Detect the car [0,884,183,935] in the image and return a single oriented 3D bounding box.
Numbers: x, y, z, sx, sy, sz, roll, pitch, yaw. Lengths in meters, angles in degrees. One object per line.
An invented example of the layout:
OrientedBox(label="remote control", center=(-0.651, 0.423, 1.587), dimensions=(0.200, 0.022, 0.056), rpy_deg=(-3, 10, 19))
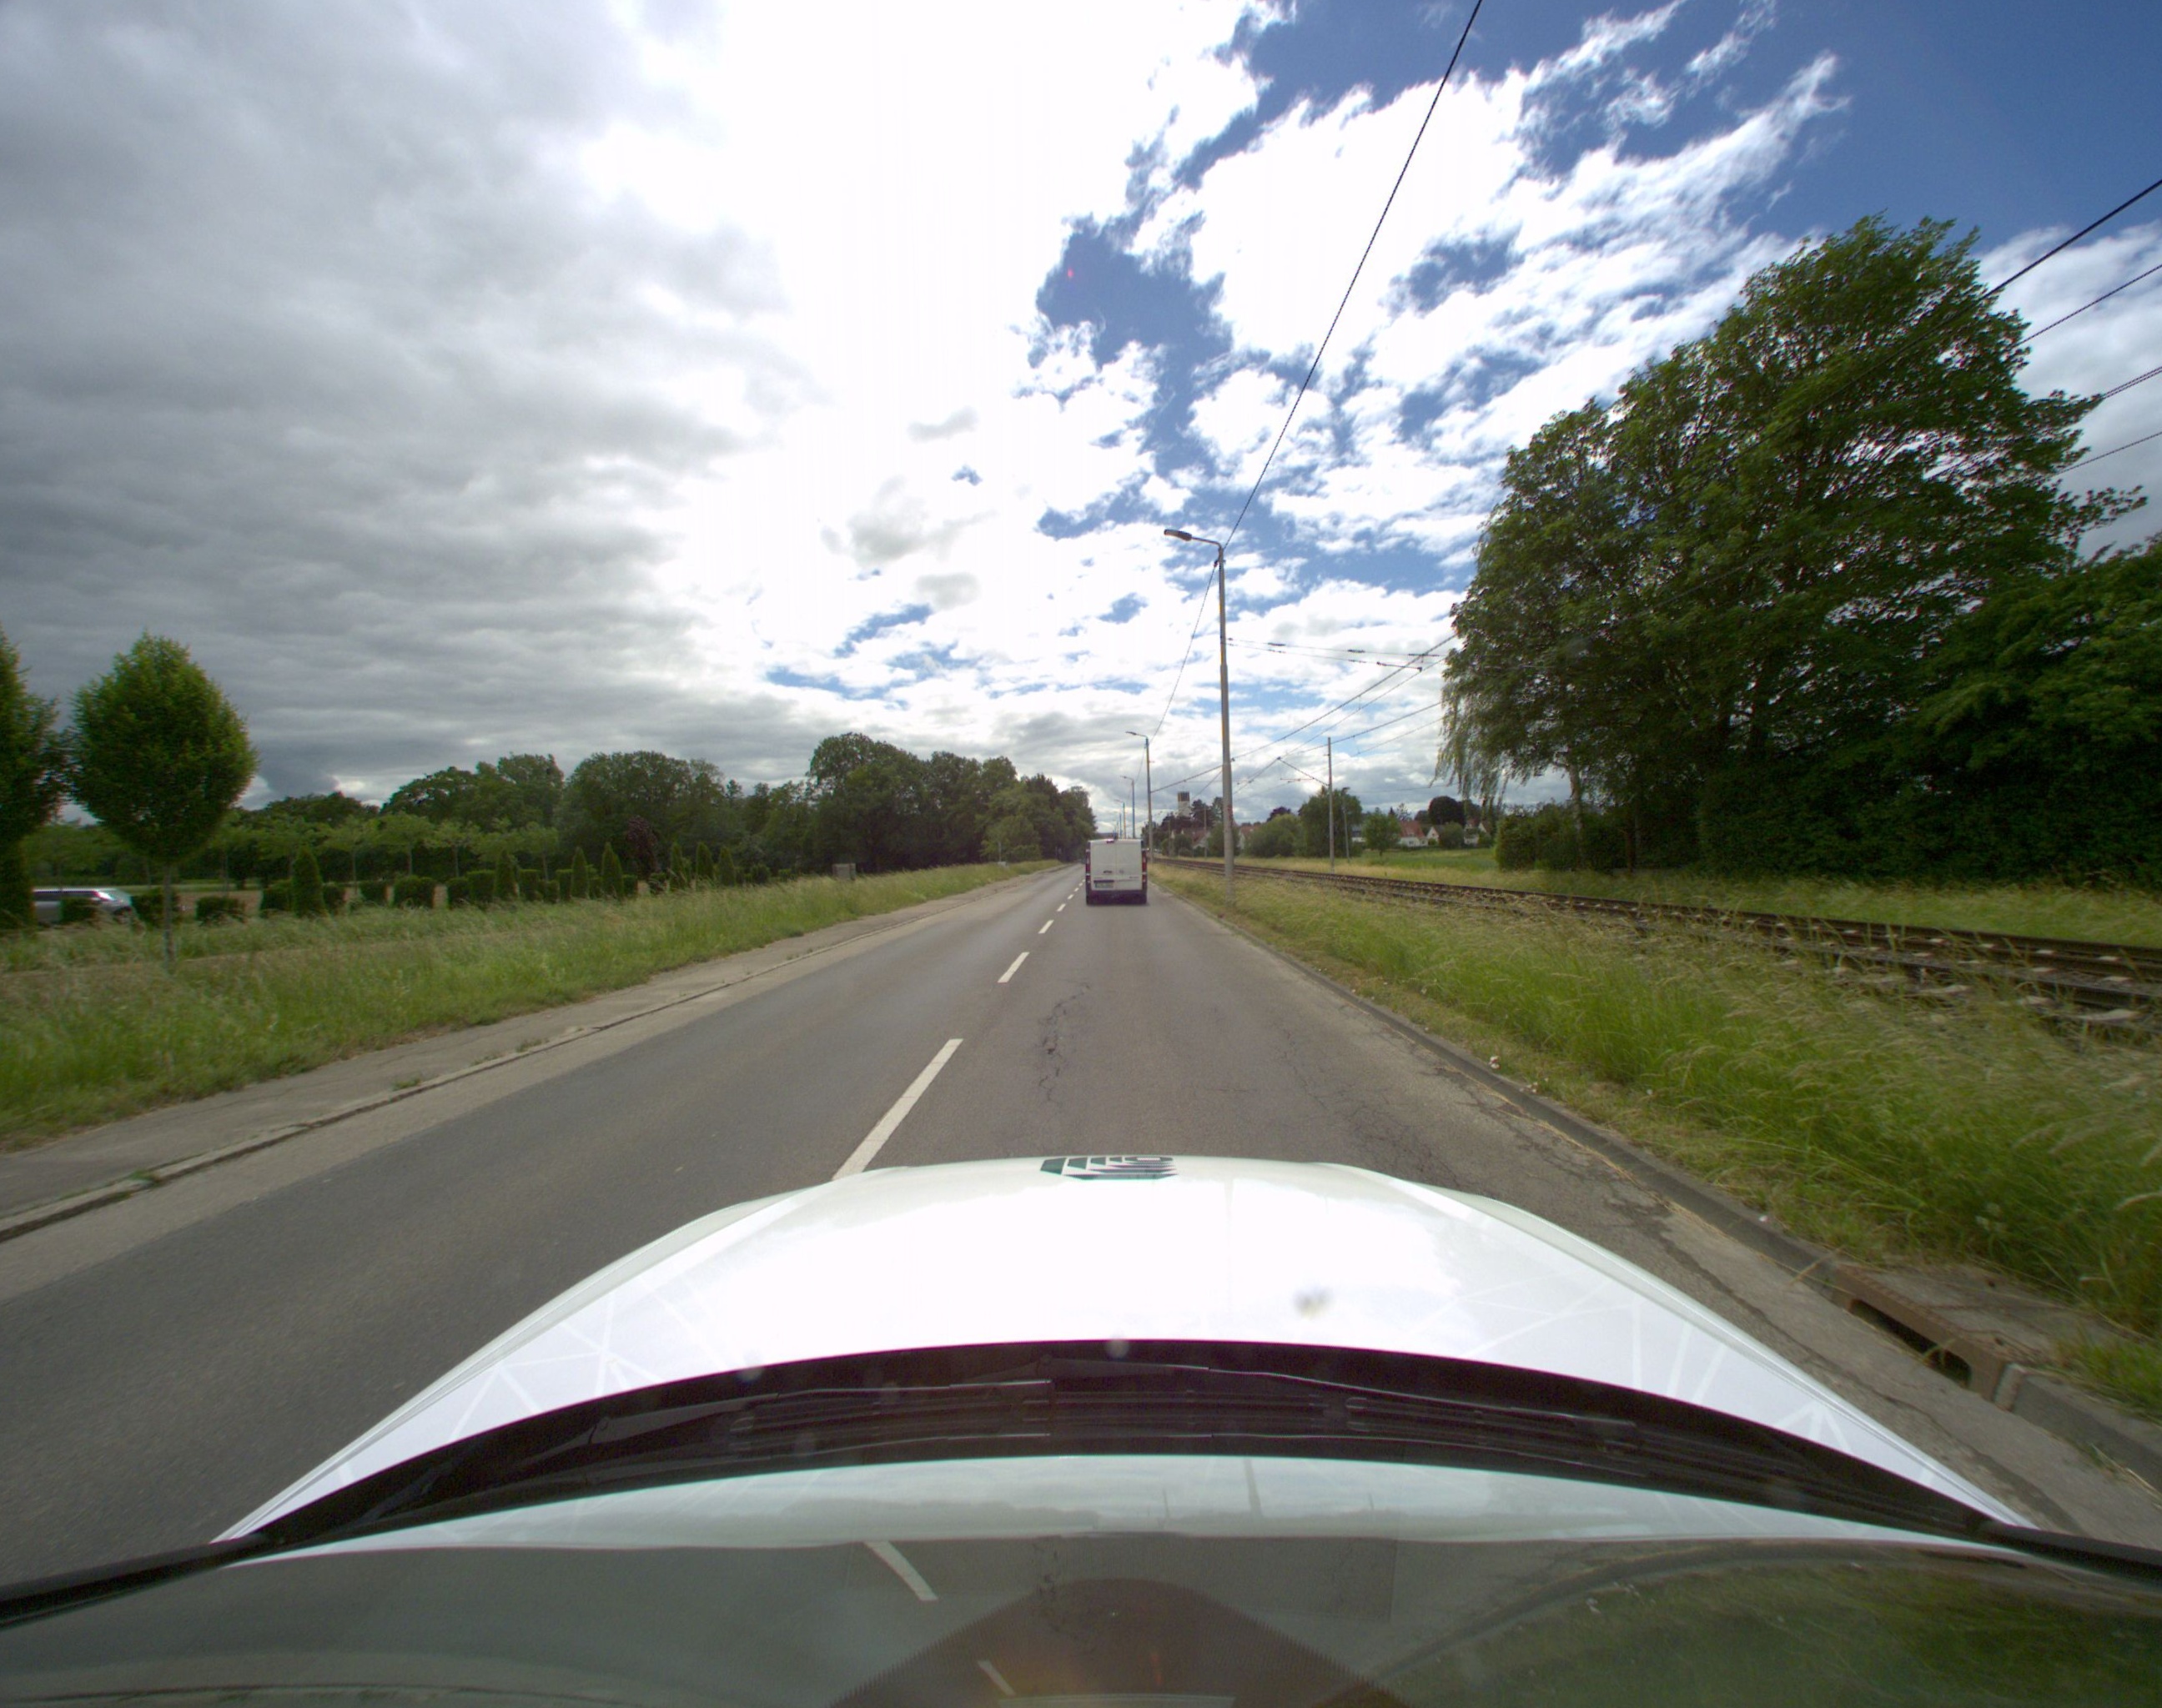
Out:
OrientedBox(label="car", center=(-34.806, 1.910, 28.542), dimensions=(4.011, 1.453, 1.957), rpy_deg=(-2, 0, -29))

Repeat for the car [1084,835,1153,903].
OrientedBox(label="car", center=(1.112, 0.436, 25.588), dimensions=(1.987, 1.957, 4.000), rpy_deg=(0, 0, 1))
